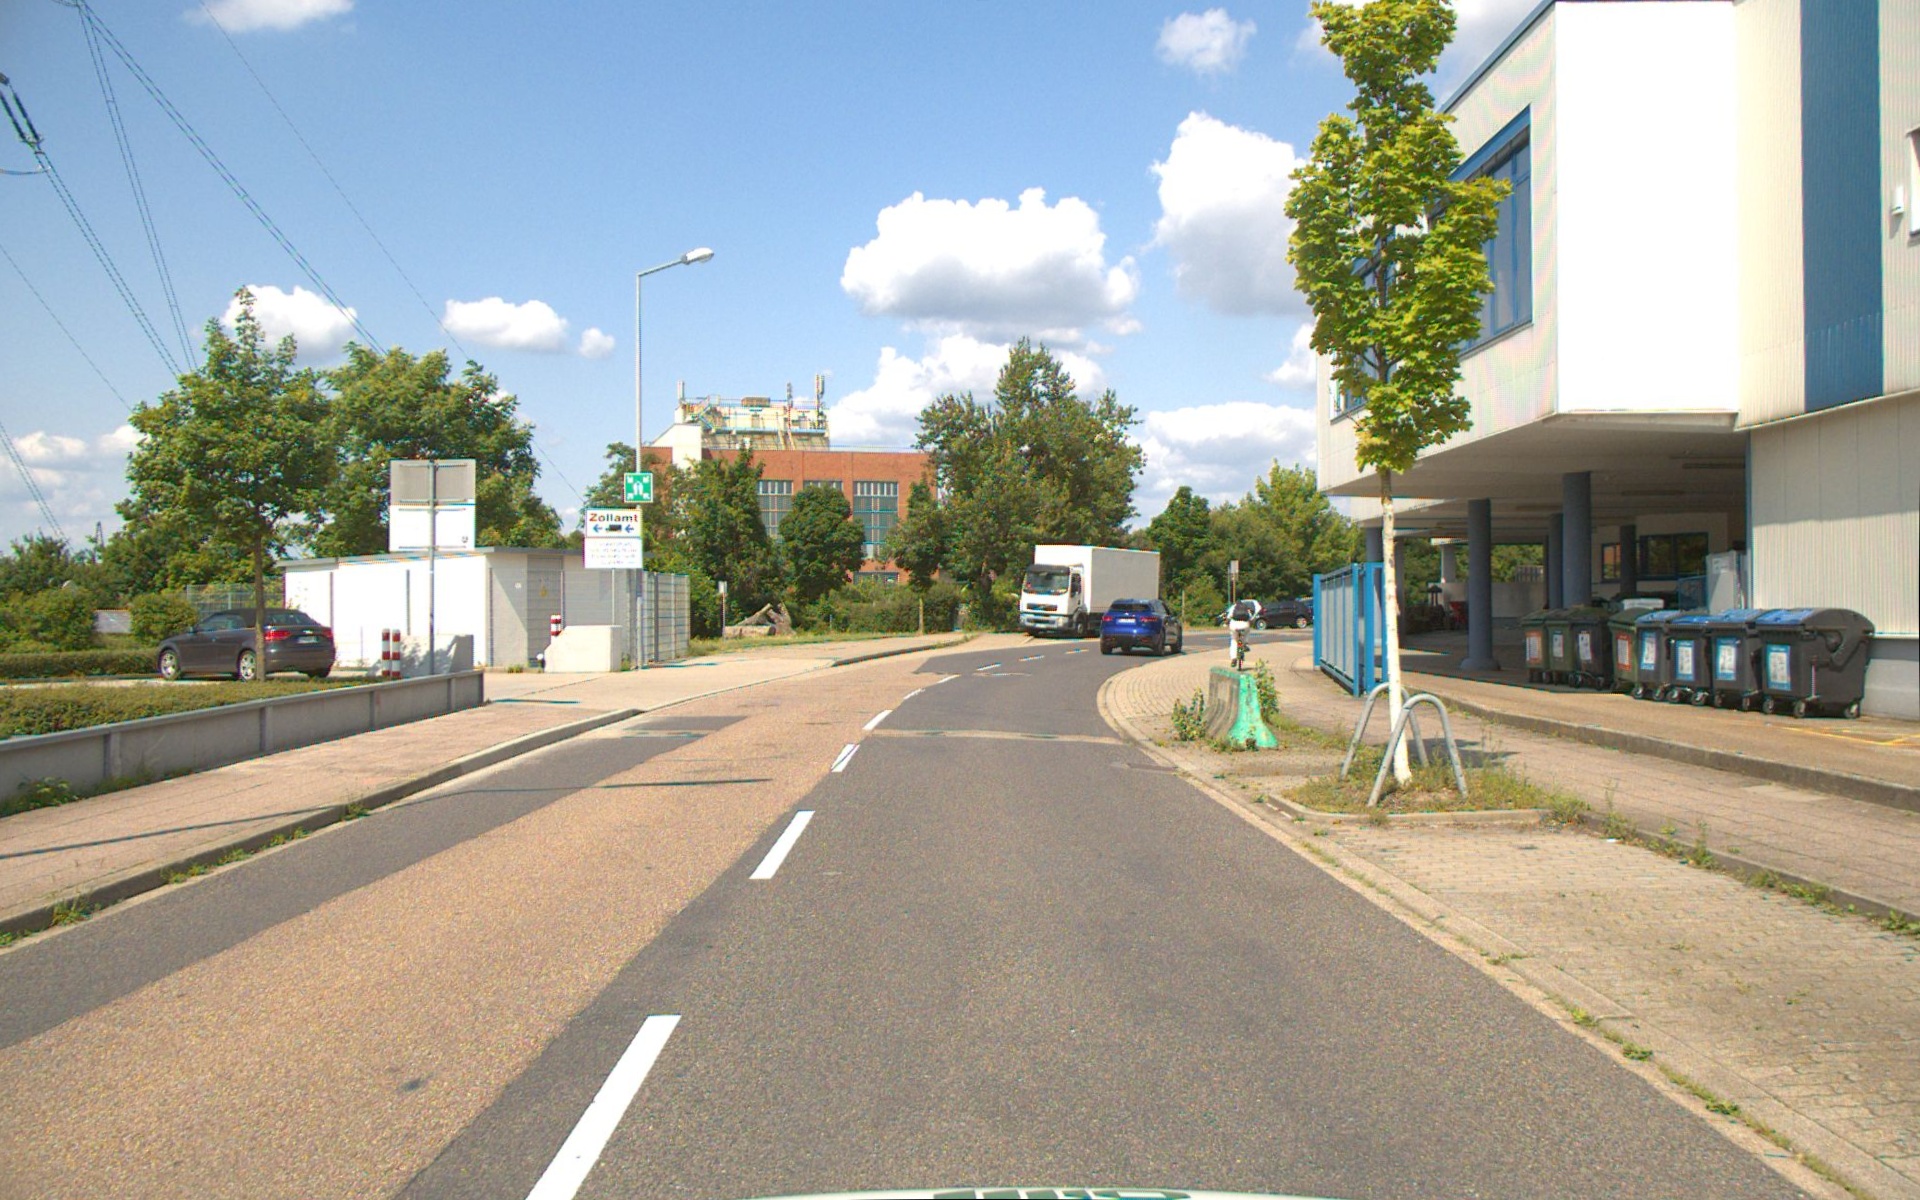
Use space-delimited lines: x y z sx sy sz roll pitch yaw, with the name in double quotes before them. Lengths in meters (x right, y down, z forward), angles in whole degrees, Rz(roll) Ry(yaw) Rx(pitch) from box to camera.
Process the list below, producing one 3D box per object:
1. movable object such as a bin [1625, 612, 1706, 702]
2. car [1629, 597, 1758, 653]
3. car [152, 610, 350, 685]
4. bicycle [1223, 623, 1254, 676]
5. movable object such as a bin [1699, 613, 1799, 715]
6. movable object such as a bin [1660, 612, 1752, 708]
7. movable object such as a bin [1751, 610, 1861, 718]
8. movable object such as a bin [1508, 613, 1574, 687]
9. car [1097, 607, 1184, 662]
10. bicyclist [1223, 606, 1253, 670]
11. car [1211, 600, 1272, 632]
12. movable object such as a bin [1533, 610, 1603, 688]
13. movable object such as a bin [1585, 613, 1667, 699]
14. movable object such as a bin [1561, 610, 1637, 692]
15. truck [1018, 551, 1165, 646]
"movable object such as a bin" 11.456 0.915 26.886 0.788 1.438 1.174 0 -1 -3
"car" 21.469 0.704 48.414 3.618 1.573 1.822 0 0 -34
"car" -14.185 0.931 33.043 3.916 1.402 1.798 -1 0 34
"bicycle" 6.327 1.109 37.527 0.652 1.128 2.169 -1 0 10
"movable object such as a bin" 11.493 0.913 24.129 0.788 1.438 1.357 0 -1 -2
"movable object such as a bin" 11.508 0.914 25.566 0.788 1.438 1.357 0 -1 -2
"movable object such as a bin" 11.535 0.856 22.596 0.788 1.438 1.357 0 -1 -2
"movable object such as a bin" 11.515 0.972 32.800 0.788 1.438 1.357 0 -1 -3
"car" 5.632 1.039 51.222 1.869 1.621 4.704 0 -1 17
"bicyclist" 6.334 0.864 37.684 0.649 1.422 0.859 -1 -1 11
"car" 14.328 0.844 84.348 2.837 1.597 1.890 0 -1 3
"movable object such as a bin" 11.506 0.915 31.347 0.788 1.438 1.357 0 -1 -3
"movable object such as a bin" 11.389 0.939 28.335 0.788 1.438 1.426 0 -1 -3
"movable object such as a bin" 11.542 0.908 29.910 0.788 1.438 1.404 0 -1 -3
"truck" 5.543 -0.138 67.733 2.277 3.630 9.351 1 1 29
